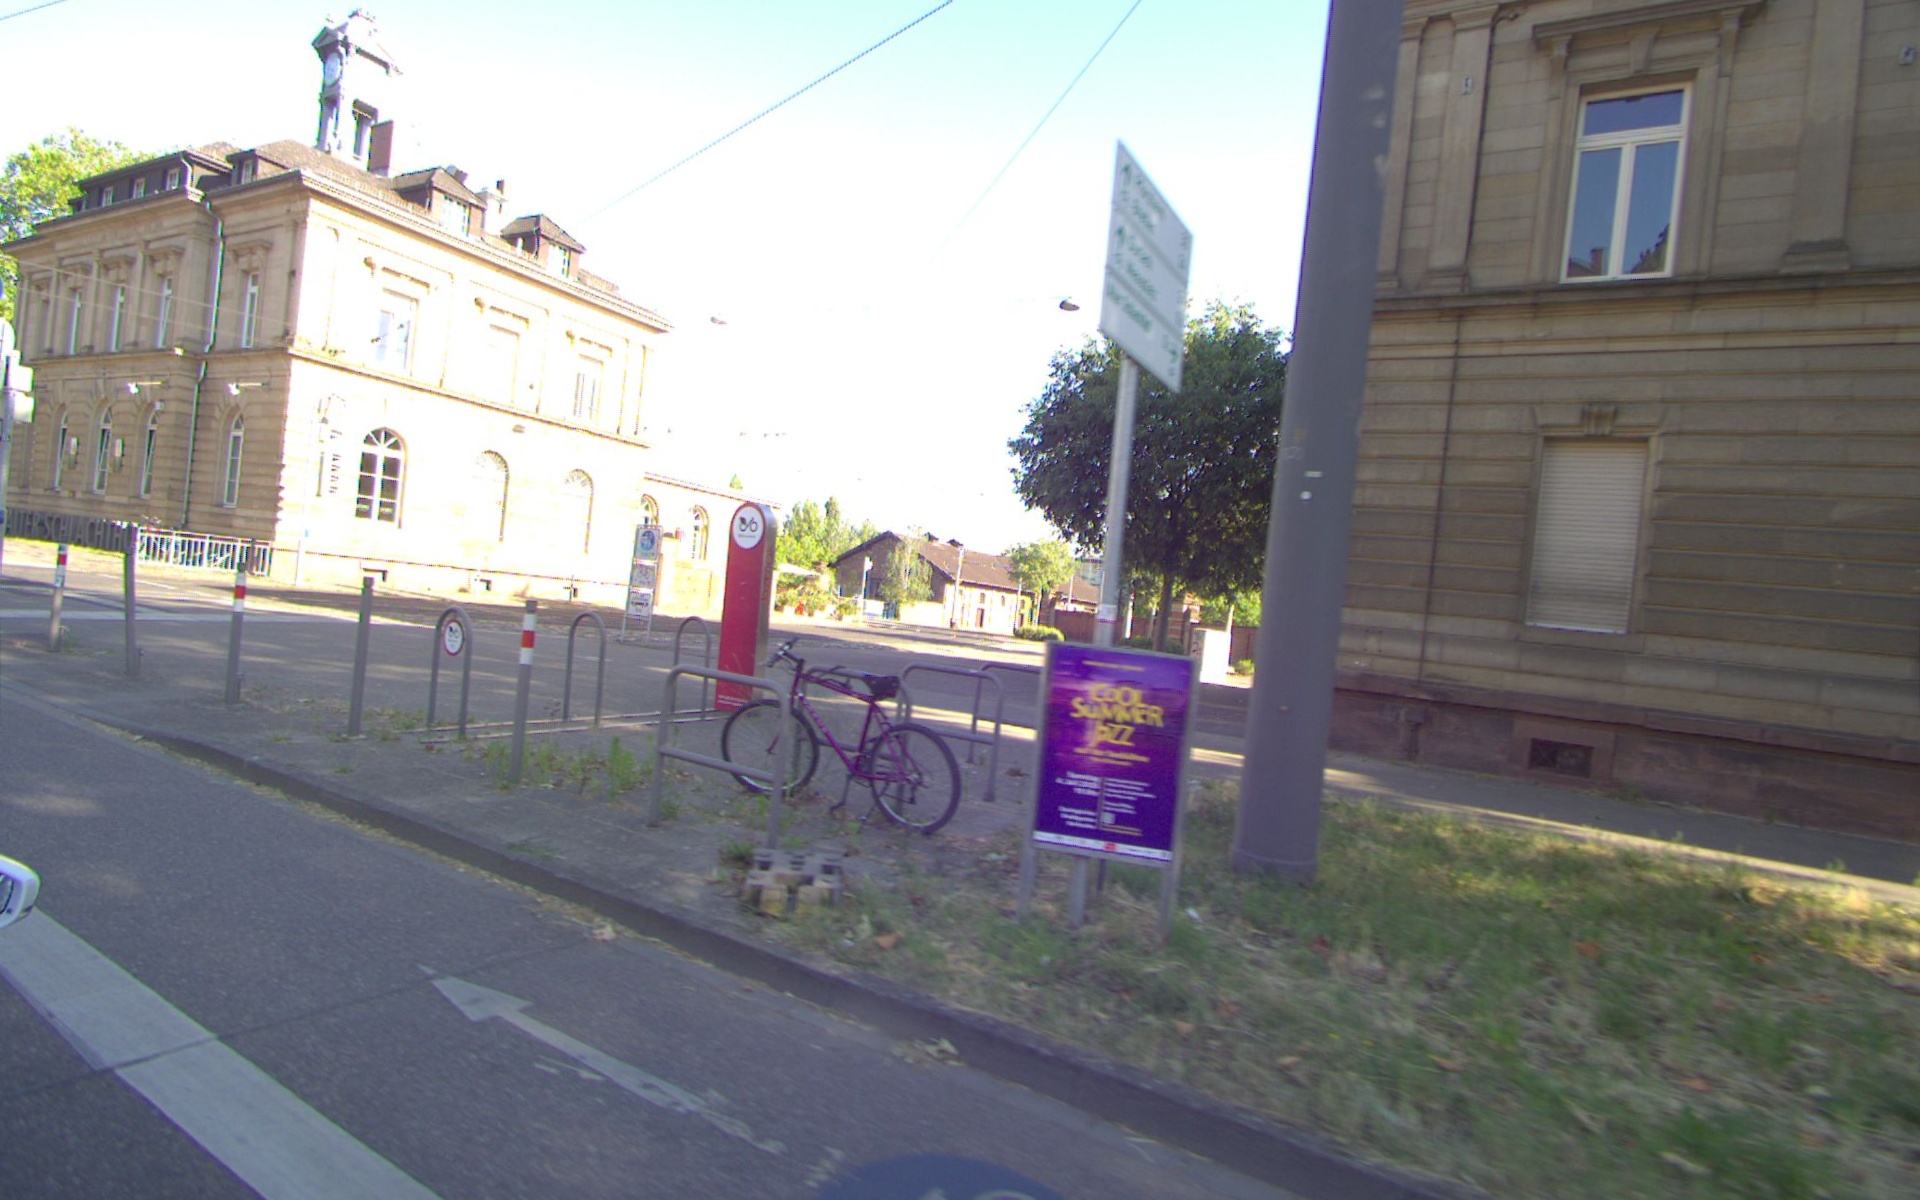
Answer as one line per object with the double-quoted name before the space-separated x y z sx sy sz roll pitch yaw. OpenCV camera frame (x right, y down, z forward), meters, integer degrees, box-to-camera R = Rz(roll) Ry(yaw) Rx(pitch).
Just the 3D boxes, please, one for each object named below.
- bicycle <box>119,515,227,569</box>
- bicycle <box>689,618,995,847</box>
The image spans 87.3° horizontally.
"bicycle" -21.413 -1.555 27.425 0.752 1.225 2.139 6 1 28
"bicycle" -0.739 0.742 6.095 1.740 1.075 0.541 6 1 27
